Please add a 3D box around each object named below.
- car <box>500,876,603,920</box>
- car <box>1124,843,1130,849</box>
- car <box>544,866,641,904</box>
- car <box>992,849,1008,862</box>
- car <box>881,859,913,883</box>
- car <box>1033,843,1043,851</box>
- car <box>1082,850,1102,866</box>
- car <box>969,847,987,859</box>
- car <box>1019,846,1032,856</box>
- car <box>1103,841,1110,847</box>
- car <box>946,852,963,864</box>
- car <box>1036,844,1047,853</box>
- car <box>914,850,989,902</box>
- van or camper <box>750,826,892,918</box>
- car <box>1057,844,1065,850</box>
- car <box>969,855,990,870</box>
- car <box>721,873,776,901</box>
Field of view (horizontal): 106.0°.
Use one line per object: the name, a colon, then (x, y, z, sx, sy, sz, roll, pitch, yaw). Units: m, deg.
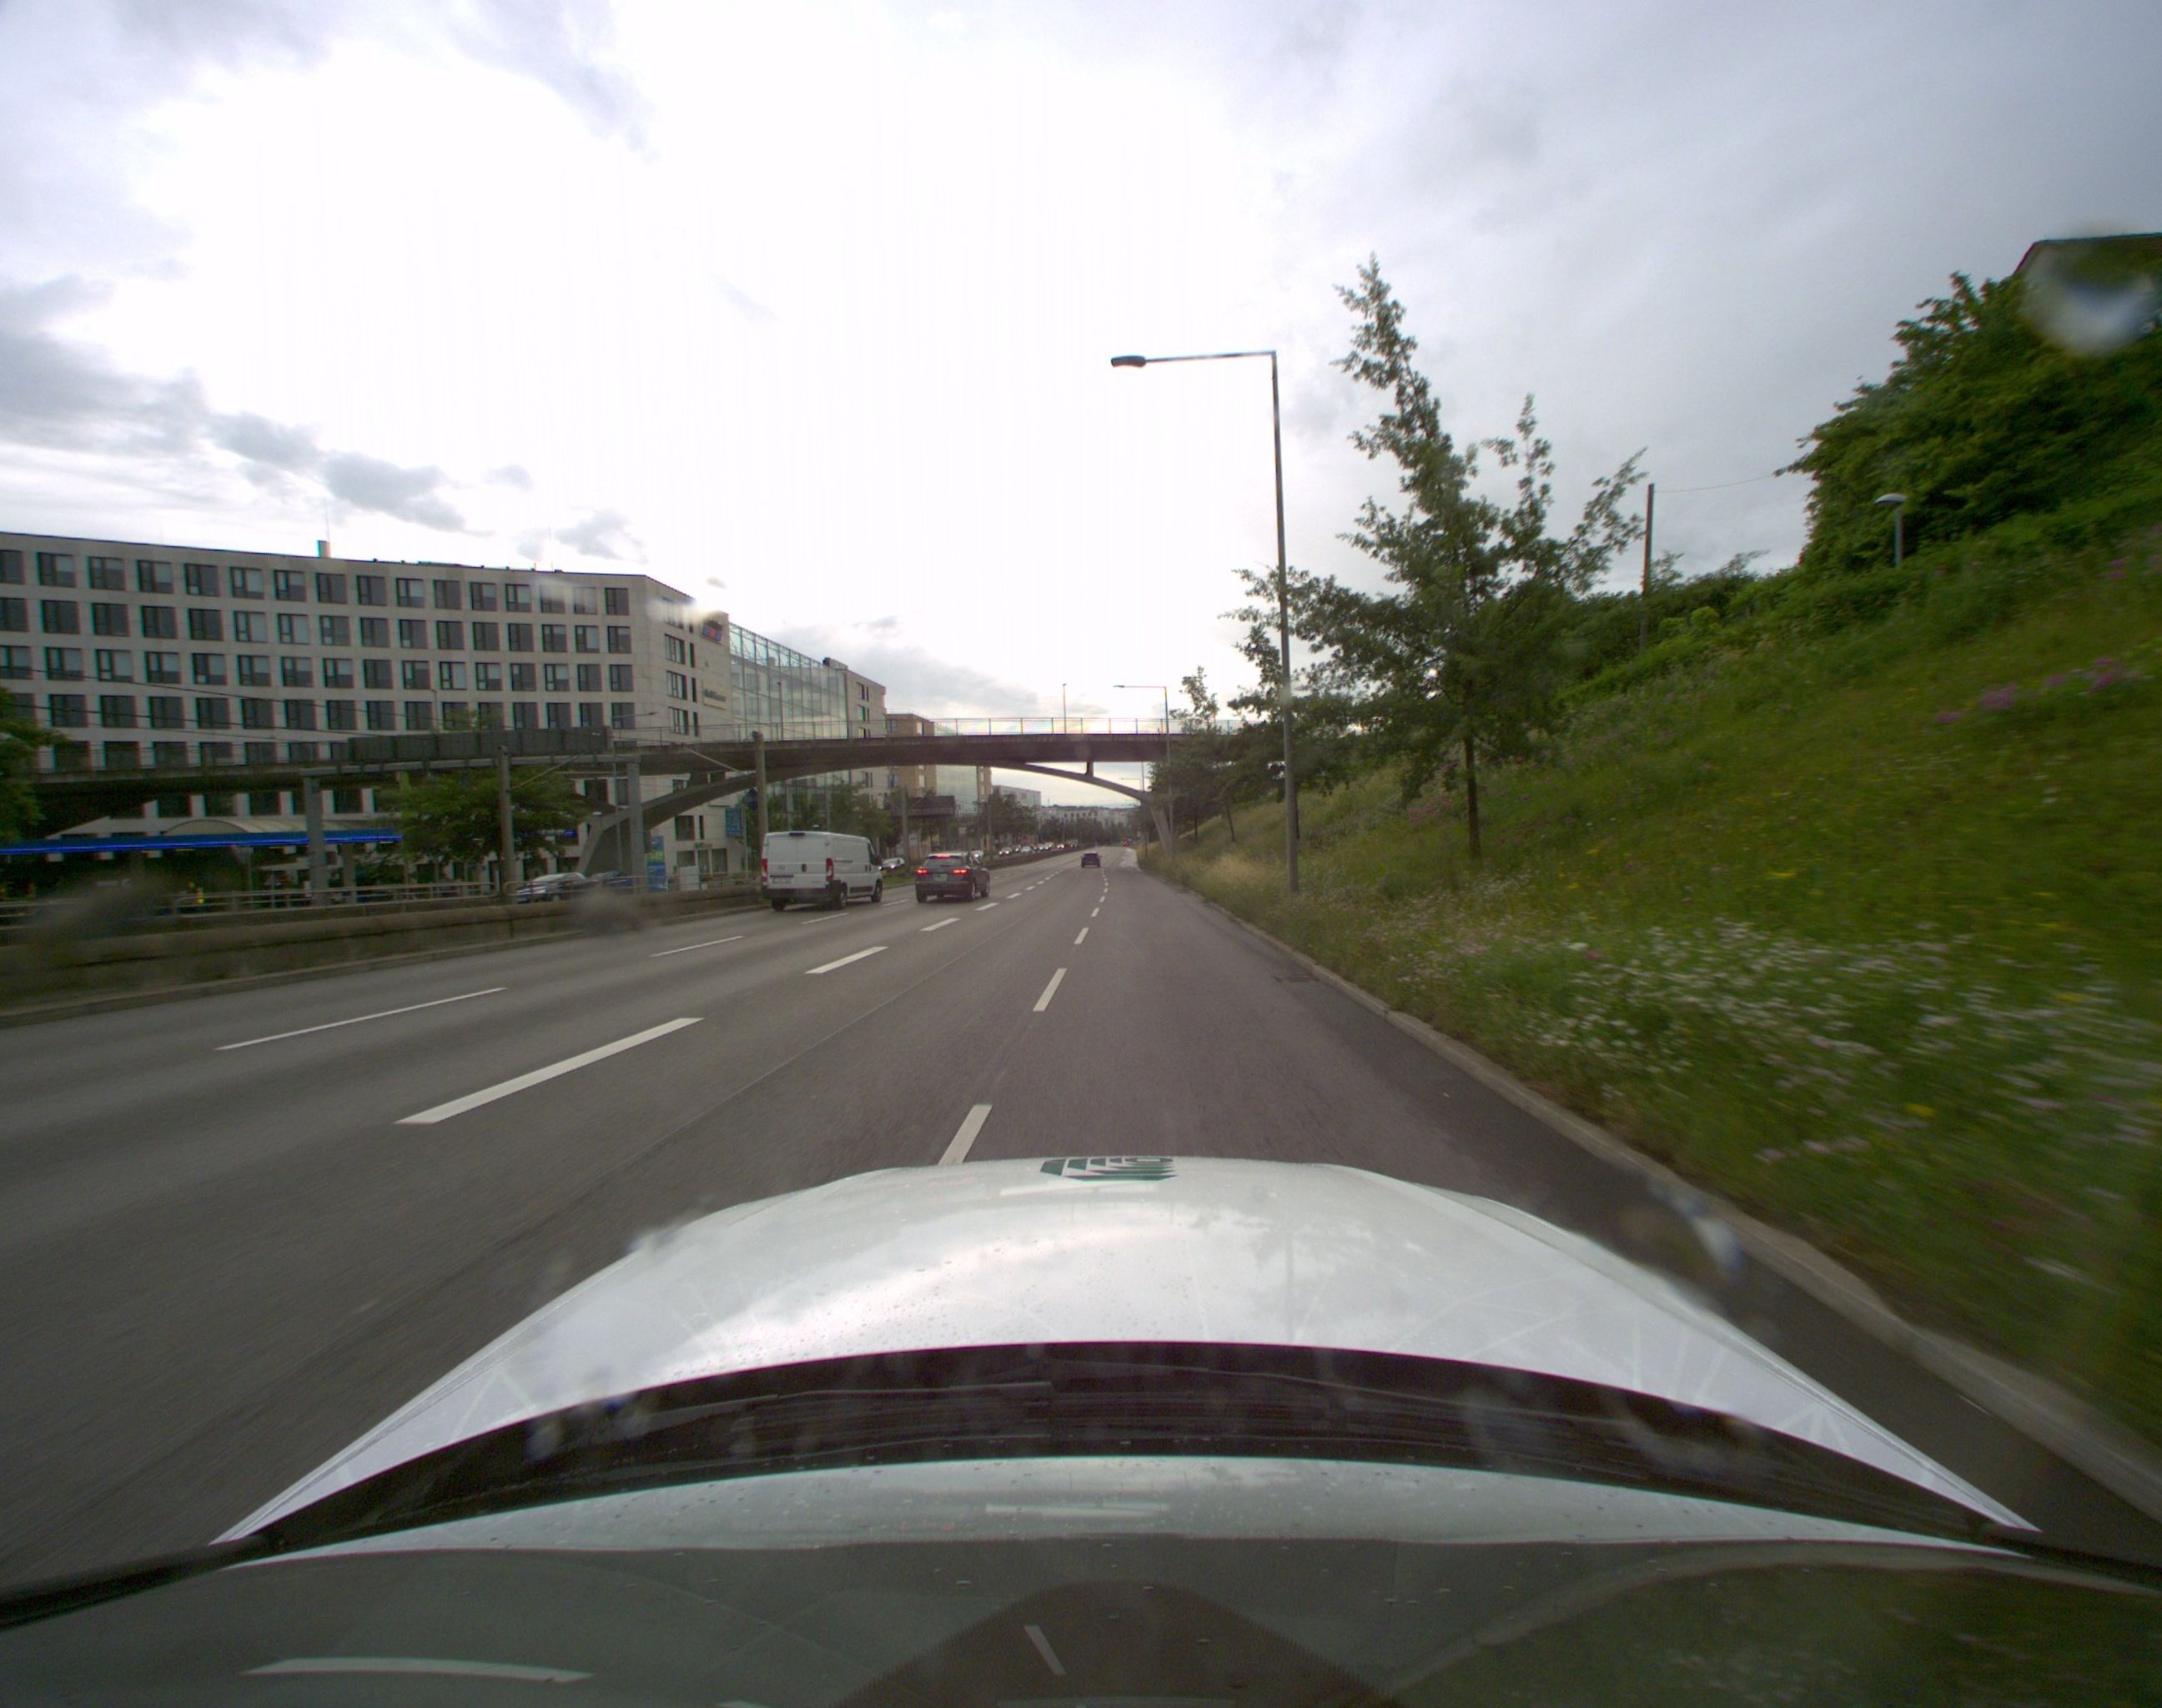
car: (-20.352, 1.660, 31.461, 1.511, 1.420, 3.481, -2, 1, 3)
car: (14.690, -2.609, 261.094, 1.857, 1.749, 4.000, 0, 3, 0)
car: (-24.238, 1.499, 40.606, 1.984, 1.636, 4.253, -1, 0, 4)
car: (-13.513, 0.225, 136.529, 1.984, 2.013, 4.005, -1, 0, 5)
car: (-17.539, 1.602, 77.647, 1.986, 2.013, 4.003, 0, 3, 2)
car: (-10.436, -1.665, 197.765, 1.984, 1.735, 4.254, 0, 3, 4)
car: (1.034, 0.372, 77.605, 1.741, 1.420, 3.481, -1, 1, 3)
car: (-16.582, -0.155, 131.556, 1.984, 1.735, 4.254, 0, 3, 4)
car: (-10.937, -0.640, 160.653, 1.984, 1.735, 4.254, 0, 3, 4)
car: (8.101, -3.100, 259.212, 1.857, 1.749, 4.000, 0, 3, 0)
car: (-22.240, 0.730, 143.727, 1.984, 2.013, 4.005, -1, 0, 5)
car: (-8.824, -1.253, 182.878, 1.984, 1.735, 4.254, 0, 3, 4)
car: (-4.355, 0.701, 28.097, 1.745, 1.617, 4.749, -2, 0, 1)
van or camper: (-7.770, 0.398, 25.081, 2.194, 2.438, 5.539, 0, 3, 4)
car: (-5.878, -2.091, 245.394, 1.984, 1.735, 4.254, 0, 3, 4)
car: (-12.457, 1.029, 100.430, 1.986, 1.705, 4.002, 0, 3, 1)
car: (-24.490, 2.415, 60.197, 1.984, 1.735, 4.254, 0, 3, 4)
